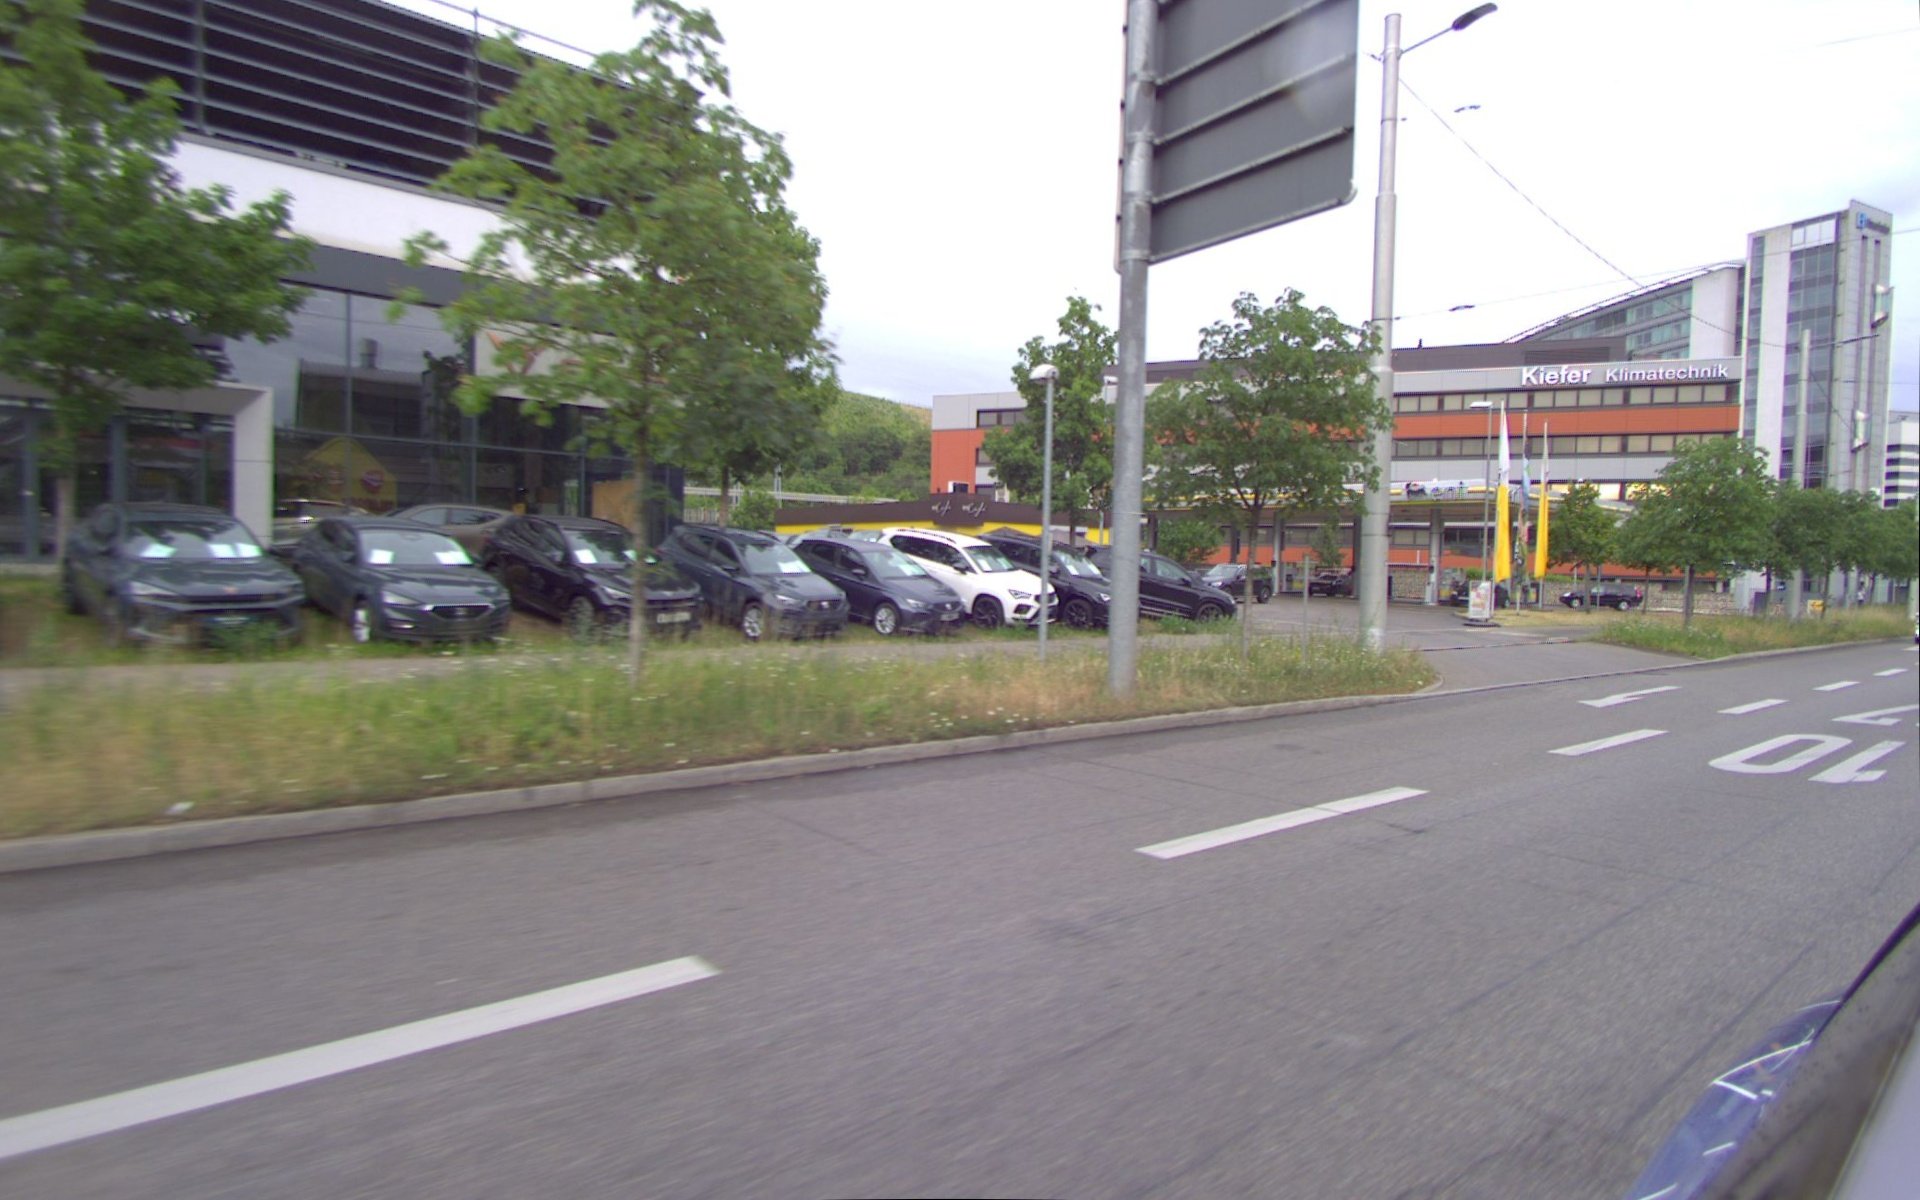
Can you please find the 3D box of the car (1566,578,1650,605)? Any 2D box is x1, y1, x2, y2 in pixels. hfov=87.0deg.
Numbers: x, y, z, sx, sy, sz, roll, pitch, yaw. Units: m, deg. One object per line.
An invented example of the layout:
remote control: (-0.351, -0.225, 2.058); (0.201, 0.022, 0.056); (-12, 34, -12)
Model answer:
car: (41.042, -0.554, 64.203); (4.321, 1.667, 1.776); (0, 0, 29)

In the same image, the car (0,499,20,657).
car: (-11.830, -0.371, 11.024); (4.481, 1.588, 1.795); (5, 4, 40)

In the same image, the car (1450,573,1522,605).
car: (26.040, -0.526, 50.082); (3.714, 1.436, 1.784); (0, 4, -40)

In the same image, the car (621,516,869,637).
car: (-3.858, -0.486, 17.742); (4.479, 1.773, 1.796); (5, 4, 38)

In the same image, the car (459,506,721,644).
car: (-5.938, -0.480, 15.981); (4.479, 1.817, 1.796); (5, 4, 38)

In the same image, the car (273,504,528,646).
car: (-7.976, -0.451, 14.224); (4.486, 1.638, 1.794); (6, 4, 42)

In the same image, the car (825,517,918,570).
car: (-3.118, -1.984, 36.528); (1.820, 1.664, 4.291); (3, 1, 18)

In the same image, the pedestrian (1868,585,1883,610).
pedestrian: (70.543, -0.183, 77.979); (0.675, 1.925, 0.673); (0, 0, 25)

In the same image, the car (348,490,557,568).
car: (-11.242, -1.535, 22.526); (3.830, 1.491, 1.783); (0, 2, -41)

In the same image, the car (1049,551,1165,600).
car: (6.127, -1.005, 41.977); (4.629, 1.882, 2.000); (0, 3, -37)

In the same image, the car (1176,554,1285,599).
car: (11.535, -0.987, 43.048); (4.629, 1.757, 2.000); (0, 3, -37)

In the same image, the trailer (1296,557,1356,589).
trailer: (26.895, -1.987, 74.378); (3.958, 2.172, 1.824); (3, 2, 24)

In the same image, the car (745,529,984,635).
car: (-1.895, -0.411, 19.312); (4.477, 1.657, 1.797); (5, 4, 37)

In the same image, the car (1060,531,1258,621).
car: (4.817, -0.615, 24.948); (4.303, 1.837, 1.882); (4, 3, -5)

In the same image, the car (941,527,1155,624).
car: (1.892, -0.604, 22.433); (4.368, 1.811, 1.854); (5, 4, 37)

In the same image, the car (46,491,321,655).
car: (-9.809, -0.448, 12.649); (4.481, 1.683, 1.795); (5, 4, 40)

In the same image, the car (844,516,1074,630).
car: (-0.082, -0.617, 20.920); (4.470, 2.015, 1.800); (5, 4, 33)

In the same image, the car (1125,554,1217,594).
car: (7.848, -0.962, 37.550); (3.425, 1.354, 1.396); (0, 3, -37)

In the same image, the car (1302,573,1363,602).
car: (23.926, -0.809, 64.956); (3.931, 1.668, 1.903); (0, 6, -41)
